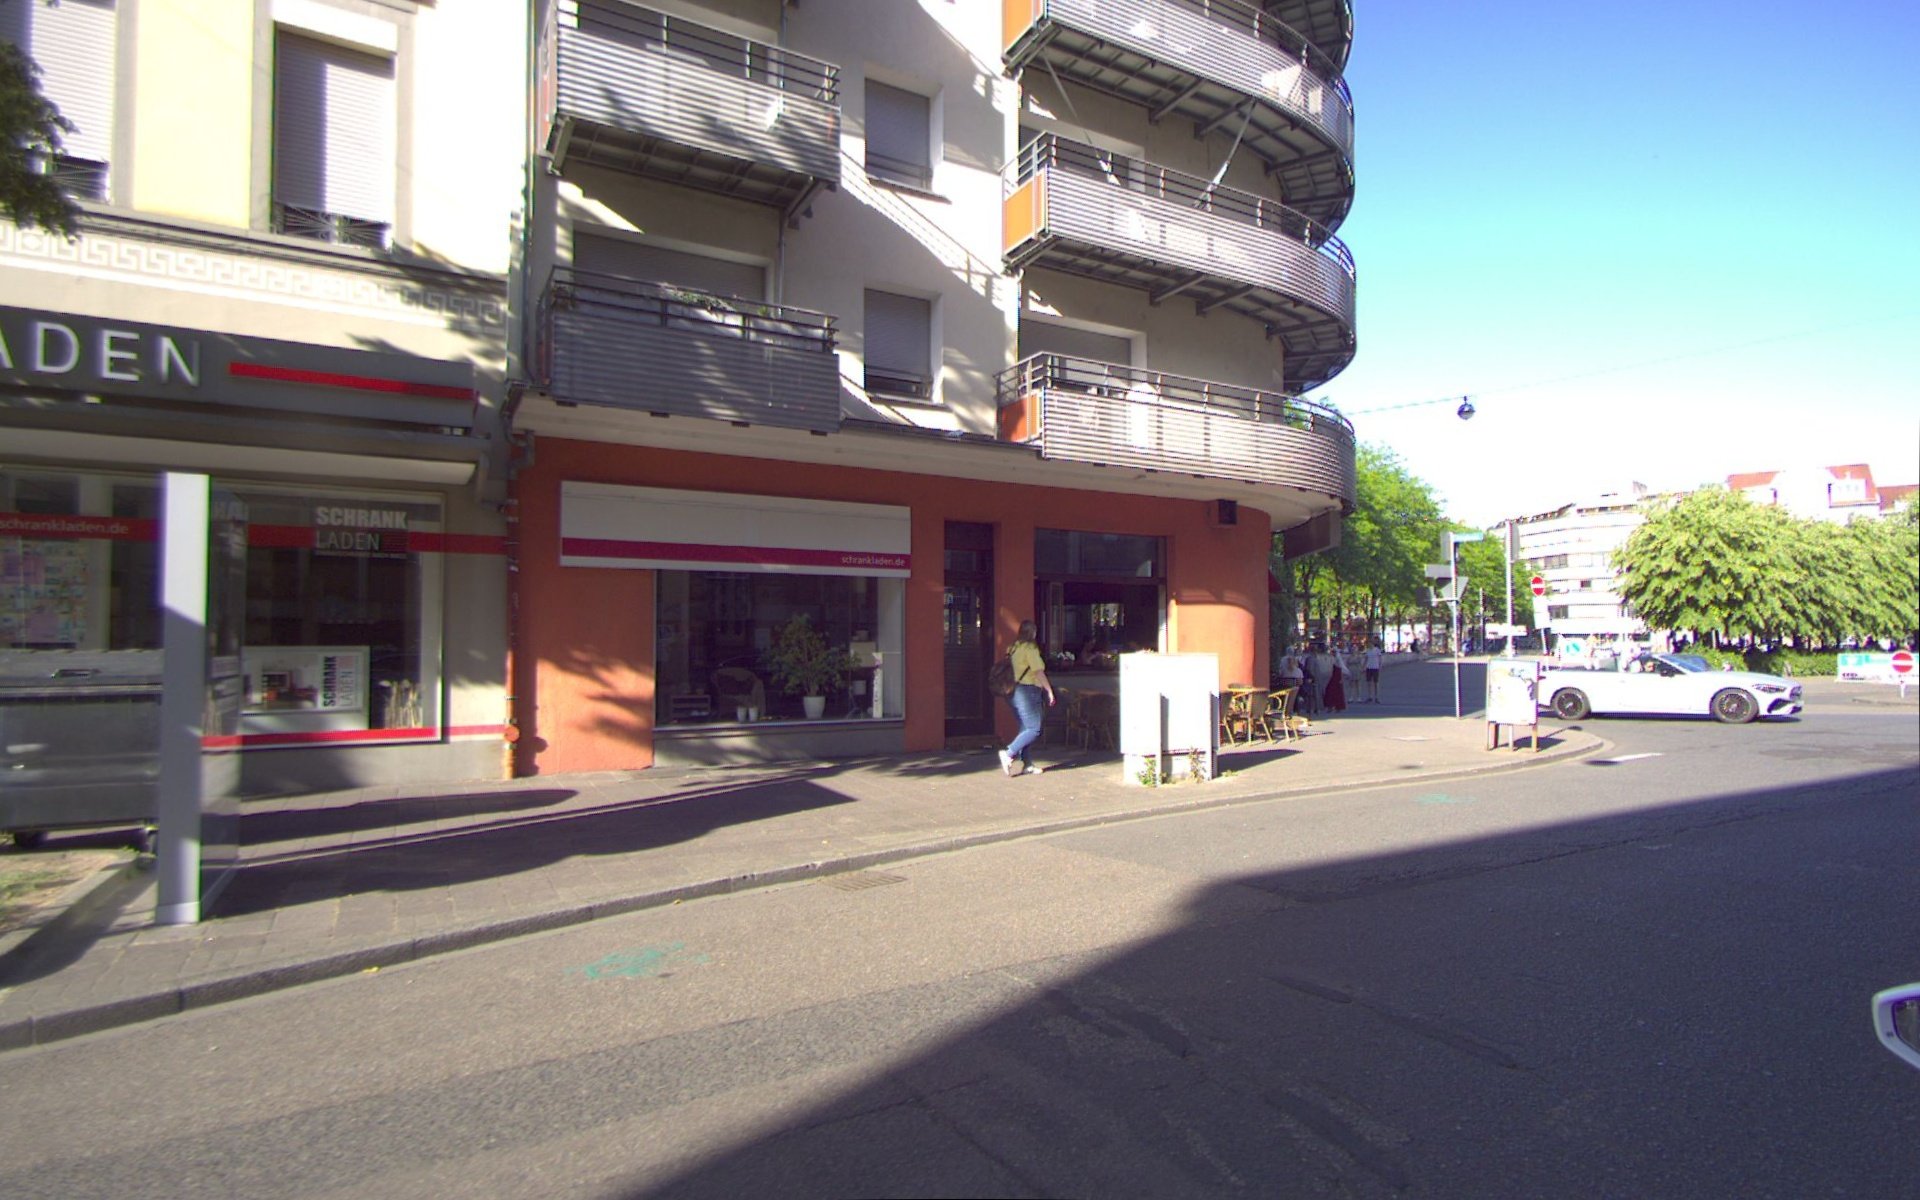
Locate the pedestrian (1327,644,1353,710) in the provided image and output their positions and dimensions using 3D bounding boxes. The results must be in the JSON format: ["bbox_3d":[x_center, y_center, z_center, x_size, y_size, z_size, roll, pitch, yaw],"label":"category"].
[{"bbox_3d":[9.123,1.838,24.115,0.531,1.555,0.553,-1,-2,19],"label":"pedestrian"}]

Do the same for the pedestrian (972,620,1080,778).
[{"bbox_3d":[0.744,1.082,11.290,1.024,1.681,0.662,1,-2,-31],"label":"pedestrian"}]

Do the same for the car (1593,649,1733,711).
[{"bbox_3d":[19.085,2.106,27.219,4.494,1.441,1.736,0,-2,-36],"label":"car"}]

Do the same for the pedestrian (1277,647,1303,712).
[{"bbox_3d":[8.028,1.927,24.450,0.563,1.555,0.700,-1,-2,19],"label":"pedestrian"}]

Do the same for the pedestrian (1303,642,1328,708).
[{"bbox_3d":[8.567,1.792,24.223,0.531,1.555,0.687,-1,-2,19],"label":"pedestrian"}]

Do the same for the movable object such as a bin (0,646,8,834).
[{"bbox_3d":[-7.282,0.983,6.564,1.299,1.363,1.037,1,-3,-31],"label":"movable object such as a bin"}]

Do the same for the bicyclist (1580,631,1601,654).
[{"bbox_3d":[48.019,3.238,76.536,1.199,1.722,0.958,2,-2,-35],"label":"bicyclist"}]

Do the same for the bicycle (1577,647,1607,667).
[{"bbox_3d":[48.212,4.337,76.645,2.662,1.523,0.958,2,-2,-35],"label":"bicycle"}]

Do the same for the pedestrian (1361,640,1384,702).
[{"bbox_3d":[12.393,2.130,30.171,0.577,1.851,0.558,-1,-3,27],"label":"pedestrian"}]

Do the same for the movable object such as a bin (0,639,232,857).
[{"bbox_3d":[-6.128,0.998,7.241,1.299,1.422,1.037,1,-3,-31],"label":"movable object such as a bin"}]

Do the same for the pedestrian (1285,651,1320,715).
[{"bbox_3d":[7.424,1.779,21.781,0.565,1.357,0.699,-1,-3,31],"label":"pedestrian"}]

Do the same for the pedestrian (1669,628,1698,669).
[{"bbox_3d":[37.702,2.518,52.343,0.949,2.135,0.734,1,-2,-7],"label":"pedestrian"}]

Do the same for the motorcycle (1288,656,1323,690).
[{"bbox_3d":[12.880,2.704,37.448,0.497,1.224,1.692,0,-3,-8],"label":"motorcycle"}]

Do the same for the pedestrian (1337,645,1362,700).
[{"bbox_3d":[11.831,2.191,30.498,0.605,1.634,0.582,-1,-3,27],"label":"pedestrian"}]

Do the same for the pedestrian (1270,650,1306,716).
[{"bbox_3d":[6.930,1.727,21.188,0.565,1.357,0.699,-1,-3,31],"label":"pedestrian"}]

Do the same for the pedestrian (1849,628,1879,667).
[{"bbox_3d":[49.591,2.590,55.117,0.949,2.135,0.734,1,-2,-7],"label":"pedestrian"}]

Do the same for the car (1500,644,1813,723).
[{"bbox_3d":[14.432,1.715,21.087,1.985,1.441,5.056,3,-5,-42],"label":"car"}]

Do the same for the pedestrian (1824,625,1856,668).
[{"bbox_3d":[44.524,2.353,50.824,0.949,2.135,0.734,1,-2,-7],"label":"pedestrian"}]
